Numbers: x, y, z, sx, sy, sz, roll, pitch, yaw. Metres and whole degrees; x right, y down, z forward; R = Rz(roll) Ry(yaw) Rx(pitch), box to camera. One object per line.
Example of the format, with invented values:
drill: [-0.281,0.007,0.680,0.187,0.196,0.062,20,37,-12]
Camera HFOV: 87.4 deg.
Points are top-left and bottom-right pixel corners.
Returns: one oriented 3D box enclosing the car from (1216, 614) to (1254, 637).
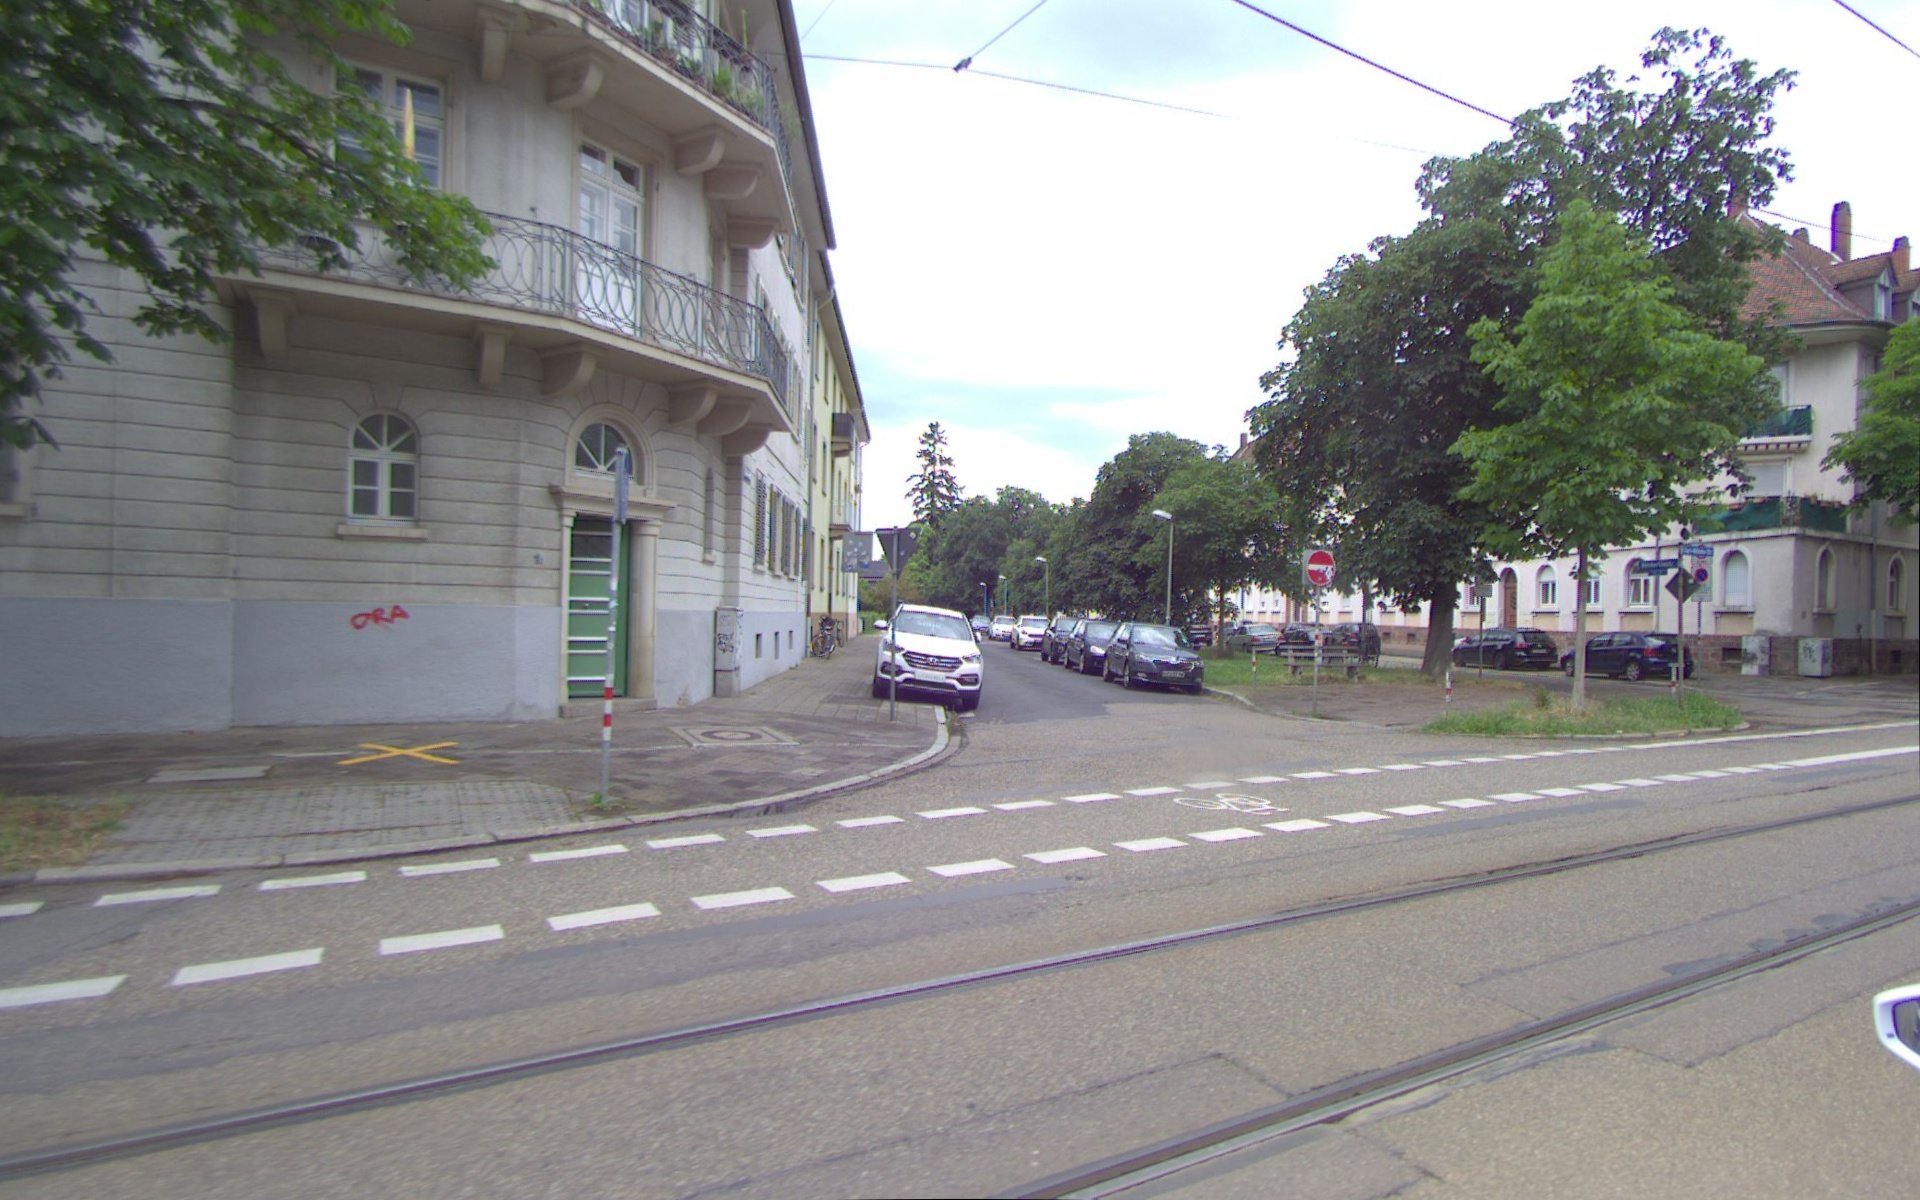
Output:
car: [18.017,1.654,65.902,1.362,1.449,3.310,1,0,-3]

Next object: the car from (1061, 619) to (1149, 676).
car: [4.012,1.276,28.346,1.633,1.364,4.008,2,0,-4]

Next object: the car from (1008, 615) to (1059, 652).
car: [3.273,1.477,45.299,1.768,1.573,4.187,0,-1,-4]

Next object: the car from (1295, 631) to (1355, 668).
car: [14.446,1.944,39.870,1.329,1.317,2.968,1,0,2]

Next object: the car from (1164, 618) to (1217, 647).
car: [13.326,1.856,58.319,1.812,1.554,3.997,1,0,-5]

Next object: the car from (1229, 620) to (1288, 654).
car: [13.762,1.686,46.524,1.640,1.428,4.001,1,0,2]

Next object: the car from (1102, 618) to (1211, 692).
car: [4.405,1.191,23.046,1.629,1.429,4.070,2,0,-1]

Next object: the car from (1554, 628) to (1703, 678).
car: [19.929,1.553,30.137,1.708,1.324,3.757,1,-1,-6]

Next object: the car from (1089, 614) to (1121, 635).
car: [12.130,1.995,84.365,1.863,1.632,4.498,1,0,-3]

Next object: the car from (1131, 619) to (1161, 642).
car: [12.570,2.055,67.887,1.270,1.409,3.117,1,0,-3]

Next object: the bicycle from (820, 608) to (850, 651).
bicycle: [-4.434,1.011,35.770,0.759,1.408,2.674,4,0,-3]

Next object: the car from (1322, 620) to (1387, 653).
car: [19.363,1.765,49.427,1.642,1.460,3.498,1,0,-3]

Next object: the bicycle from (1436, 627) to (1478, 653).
bicycle: [21.789,1.740,44.070,0.641,1.049,2.190,1,0,-3]

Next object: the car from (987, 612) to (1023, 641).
car: [2.674,1.597,60.827,1.729,1.573,4.187,2,0,-4]

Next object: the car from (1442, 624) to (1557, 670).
car: [19.350,1.650,36.207,1.675,1.483,3.941,1,0,-7]

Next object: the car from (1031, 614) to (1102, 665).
car: [3.534,1.278,33.923,1.670,1.500,4.187,2,0,-4]

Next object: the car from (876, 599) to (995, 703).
car: [-0.585,0.855,18.805,1.902,1.685,4.513,1,0,-5]

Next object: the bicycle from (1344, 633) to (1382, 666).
bicycle: [12.341,1.508,30.773,0.440,0.937,1.674,1,0,-2]

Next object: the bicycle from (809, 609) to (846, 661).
bicycle: [-3.907,0.992,29.812,0.759,1.408,2.674,4,0,-3]

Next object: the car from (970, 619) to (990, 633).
car: [1.542,2.050,78.832,1.273,1.002,3.166,1,0,-3]
